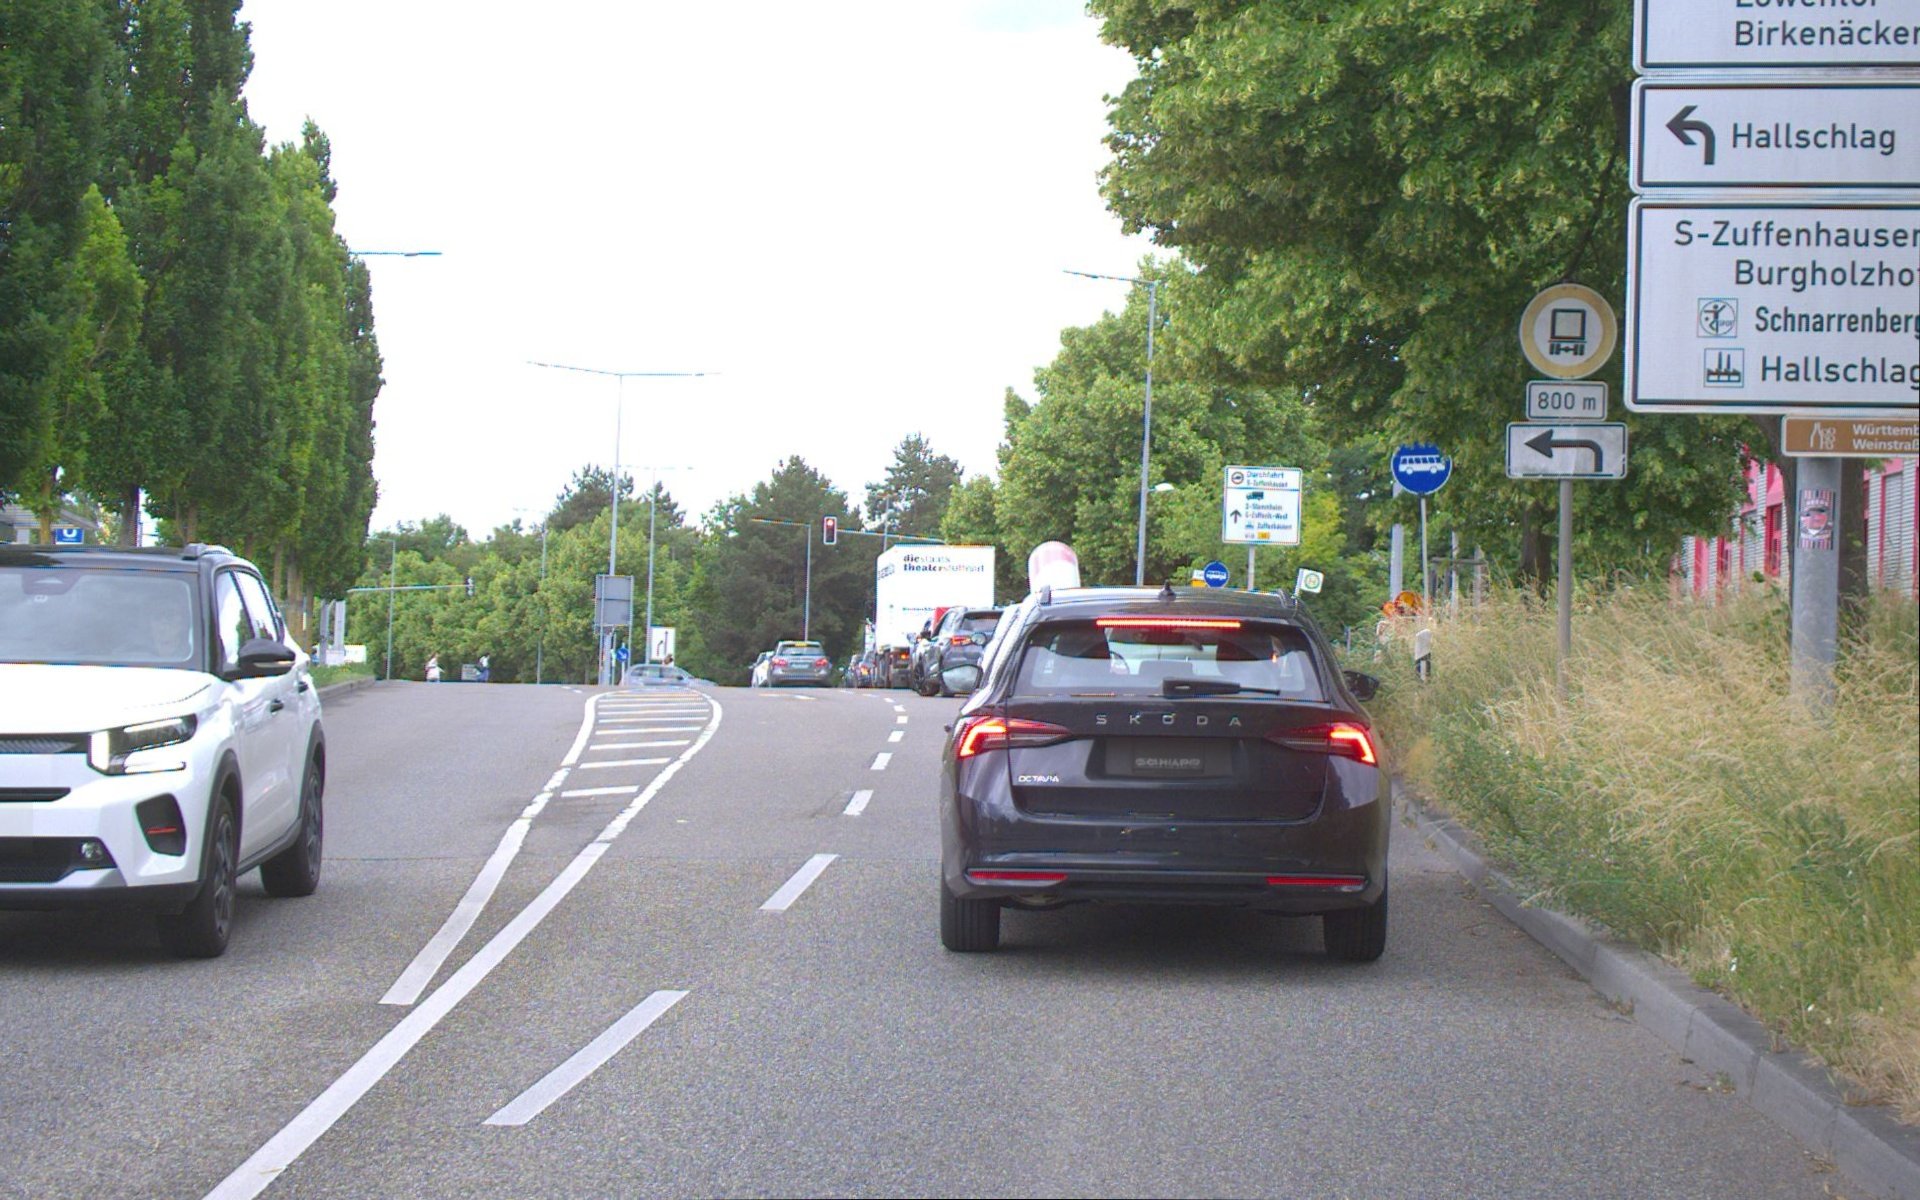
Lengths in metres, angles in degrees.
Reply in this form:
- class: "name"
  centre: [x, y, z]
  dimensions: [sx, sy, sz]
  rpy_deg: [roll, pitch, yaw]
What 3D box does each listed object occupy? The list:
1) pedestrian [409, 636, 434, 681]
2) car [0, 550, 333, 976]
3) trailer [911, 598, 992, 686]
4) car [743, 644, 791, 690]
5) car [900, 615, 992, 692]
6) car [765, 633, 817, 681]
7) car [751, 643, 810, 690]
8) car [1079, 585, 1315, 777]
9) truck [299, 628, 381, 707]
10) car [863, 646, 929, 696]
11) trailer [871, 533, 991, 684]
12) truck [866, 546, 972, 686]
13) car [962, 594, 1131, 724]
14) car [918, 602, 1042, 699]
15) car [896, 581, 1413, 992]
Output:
- class: "pedestrian"
  centre: [-19.223, 2.089, 122.763]
  dimensions: [0.863, 1.555, 0.518]
  rpy_deg: [1, 0, -7]
- class: "car"
  centre: [-3.696, 0.556, 14.139]
  dimensions: [1.715, 1.516, 3.745]
  rpy_deg: [1, 1, -3]
- class: "trailer"
  centre: [-0.181, 0.794, 64.417]
  dimensions: [1.409, 1.588, 3.303]
  rpy_deg: [1, -1, -2]
- class: "car"
  centre: [-6.655, 2.331, 118.380]
  dimensions: [1.535, 1.499, 2.670]
  rpy_deg: [1, -3, -5]
- class: "car"
  centre: [-0.307, 1.071, 68.328]
  dimensions: [1.671, 1.443, 4.489]
  rpy_deg: [1, -1, -2]
- class: "car"
  centre: [-5.110, 1.710, 103.786]
  dimensions: [1.525, 1.349, 3.491]
  rpy_deg: [1, 1, -3]
- class: "car"
  centre: [-5.925, 2.206, 113.062]
  dimensions: [1.721, 1.417, 4.357]
  rpy_deg: [1, -2, -5]
- class: "car"
  centre: [1.916, 0.624, 28.702]
  dimensions: [1.623, 1.452, 3.689]
  rpy_deg: [1, 1, -1]
- class: "truck"
  centre: [-33.158, 3.554, 183.636]
  dimensions: [2.659, 3.636, 9.506]
  rpy_deg: [3, 1, -19]
- class: "car"
  centre: [-1.967, 2.146, 104.653]
  dimensions: [1.811, 1.349, 4.118]
  rpy_deg: [2, 0, -3]
- class: "trailer"
  centre: [-0.837, 0.321, 91.309]
  dimensions: [2.565, 3.693, 7.764]
  rpy_deg: [1, -2, -5]
- class: "truck"
  centre: [-1.163, 0.477, 95.228]
  dimensions: [2.570, 3.693, 4.106]
  rpy_deg: [1, -2, -5]
- class: "car"
  centre: [0.991, 0.672, 41.056]
  dimensions: [1.718, 1.452, 3.697]
  rpy_deg: [1, 0, -3]
- class: "car"
  centre: [0.307, 0.821, 57.578]
  dimensions: [1.698, 1.481, 4.001]
  rpy_deg: [2, 1, -5]
- class: "car"
  centre: [0.859, 0.663, 14.649]
  dimensions: [1.836, 1.428, 4.278]
  rpy_deg: [2, 1, 4]
